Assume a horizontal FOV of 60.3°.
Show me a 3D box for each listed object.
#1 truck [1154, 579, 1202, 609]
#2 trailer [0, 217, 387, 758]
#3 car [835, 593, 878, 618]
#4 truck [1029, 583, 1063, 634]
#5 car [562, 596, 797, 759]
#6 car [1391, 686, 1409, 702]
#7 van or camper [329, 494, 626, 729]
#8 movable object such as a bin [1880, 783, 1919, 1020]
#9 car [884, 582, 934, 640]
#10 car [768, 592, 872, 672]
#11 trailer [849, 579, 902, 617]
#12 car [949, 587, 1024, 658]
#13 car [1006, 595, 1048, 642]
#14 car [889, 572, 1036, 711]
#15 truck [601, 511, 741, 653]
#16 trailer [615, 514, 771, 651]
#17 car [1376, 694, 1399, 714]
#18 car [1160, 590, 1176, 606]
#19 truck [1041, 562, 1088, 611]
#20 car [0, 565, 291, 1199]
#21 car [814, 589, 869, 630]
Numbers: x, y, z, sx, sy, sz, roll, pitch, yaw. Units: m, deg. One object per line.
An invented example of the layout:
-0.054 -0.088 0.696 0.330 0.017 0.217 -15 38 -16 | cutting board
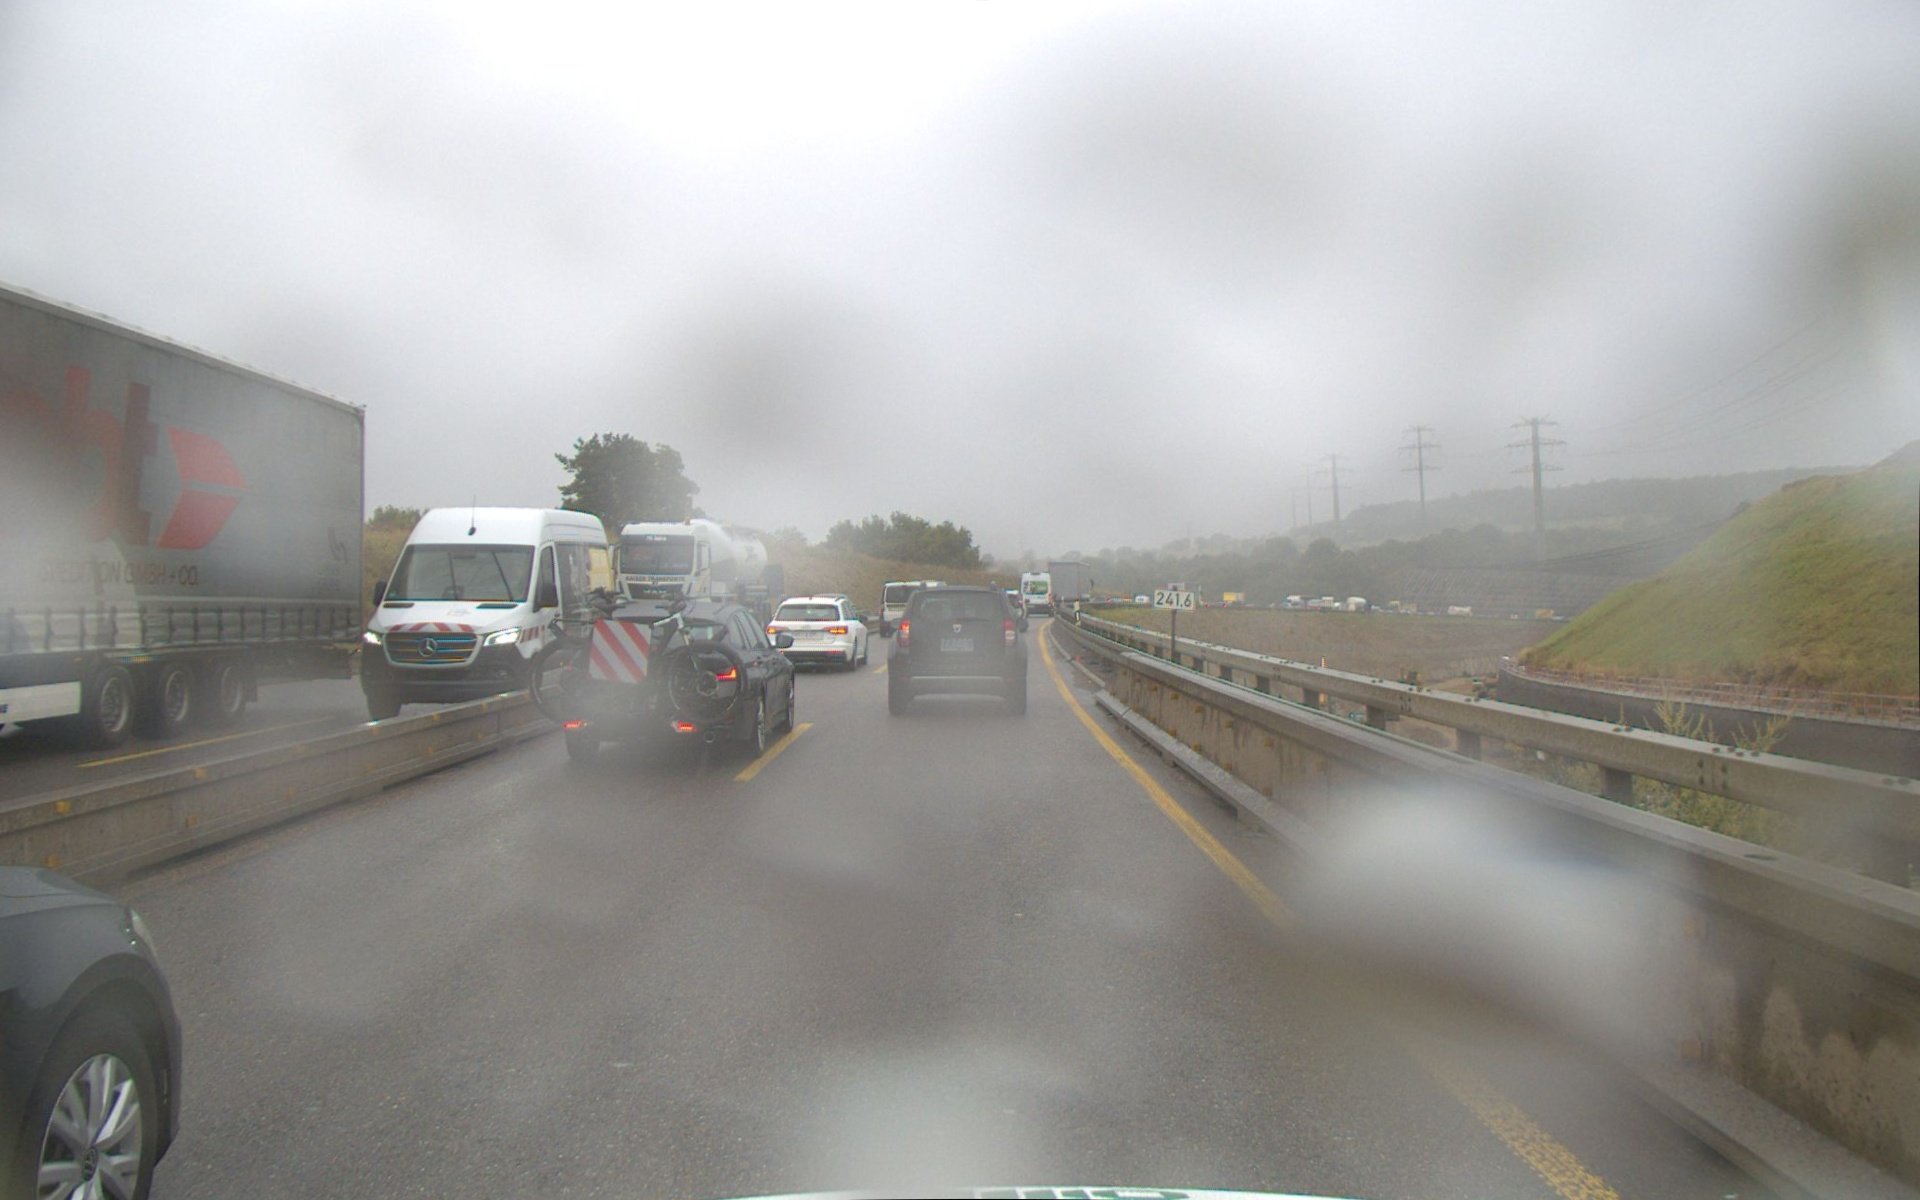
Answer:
32.331 -0.854 244.675 4.618 4.222 15.692 1 0 16 | truck
-9.429 -0.921 14.997 2.934 4.498 15.702 -2 1 0 | trailer
-6.936 0.340 111.131 1.951 1.614 5.123 1 0 7 | car
5.573 0.511 108.026 2.104 3.221 6.461 1 0 2 | truck
-2.803 0.728 17.303 1.791 1.502 3.776 0 0 0 | car
57.317 12.237 215.320 1.951 1.847 4.003 0 0 11 | car
-6.107 0.126 21.849 2.232 2.659 5.827 1 0 -1 | van or camper
26.220 7.489 37.201 4.792 5.770 12.092 2 -2 3 | movable object such as a bin
-1.749 0.367 57.690 1.626 1.913 4.019 1 0 0 | car
-2.753 0.593 33.445 1.830 1.486 4.547 1 0 -2 | car
-5.956 -0.179 117.215 2.456 2.609 7.168 1 0 8 | trailer
0.640 0.544 42.812 1.829 1.738 4.000 1 0 -1 | car
2.519 0.672 62.515 1.499 1.669 4.014 1 0 2 | car
0.064 0.514 21.932 1.767 1.674 3.776 0 0 1 | car
-8.656 -0.510 50.242 3.165 4.025 5.881 -1 0 0 | truck
-8.622 -0.515 55.061 3.188 4.033 11.537 -1 0 1 | trailer
51.343 12.457 198.728 2.314 2.049 4.003 1 0 8 | car
26.697 -0.227 212.230 1.737 1.949 4.003 1 0 12 | car
8.584 -1.092 134.646 3.132 3.827 8.516 1 0 8 | truck
-2.425 0.729 1.922 1.581 1.532 4.367 -2 0 -2 | car
-4.548 0.349 63.954 1.766 1.464 4.950 -2 0 -1 | car
